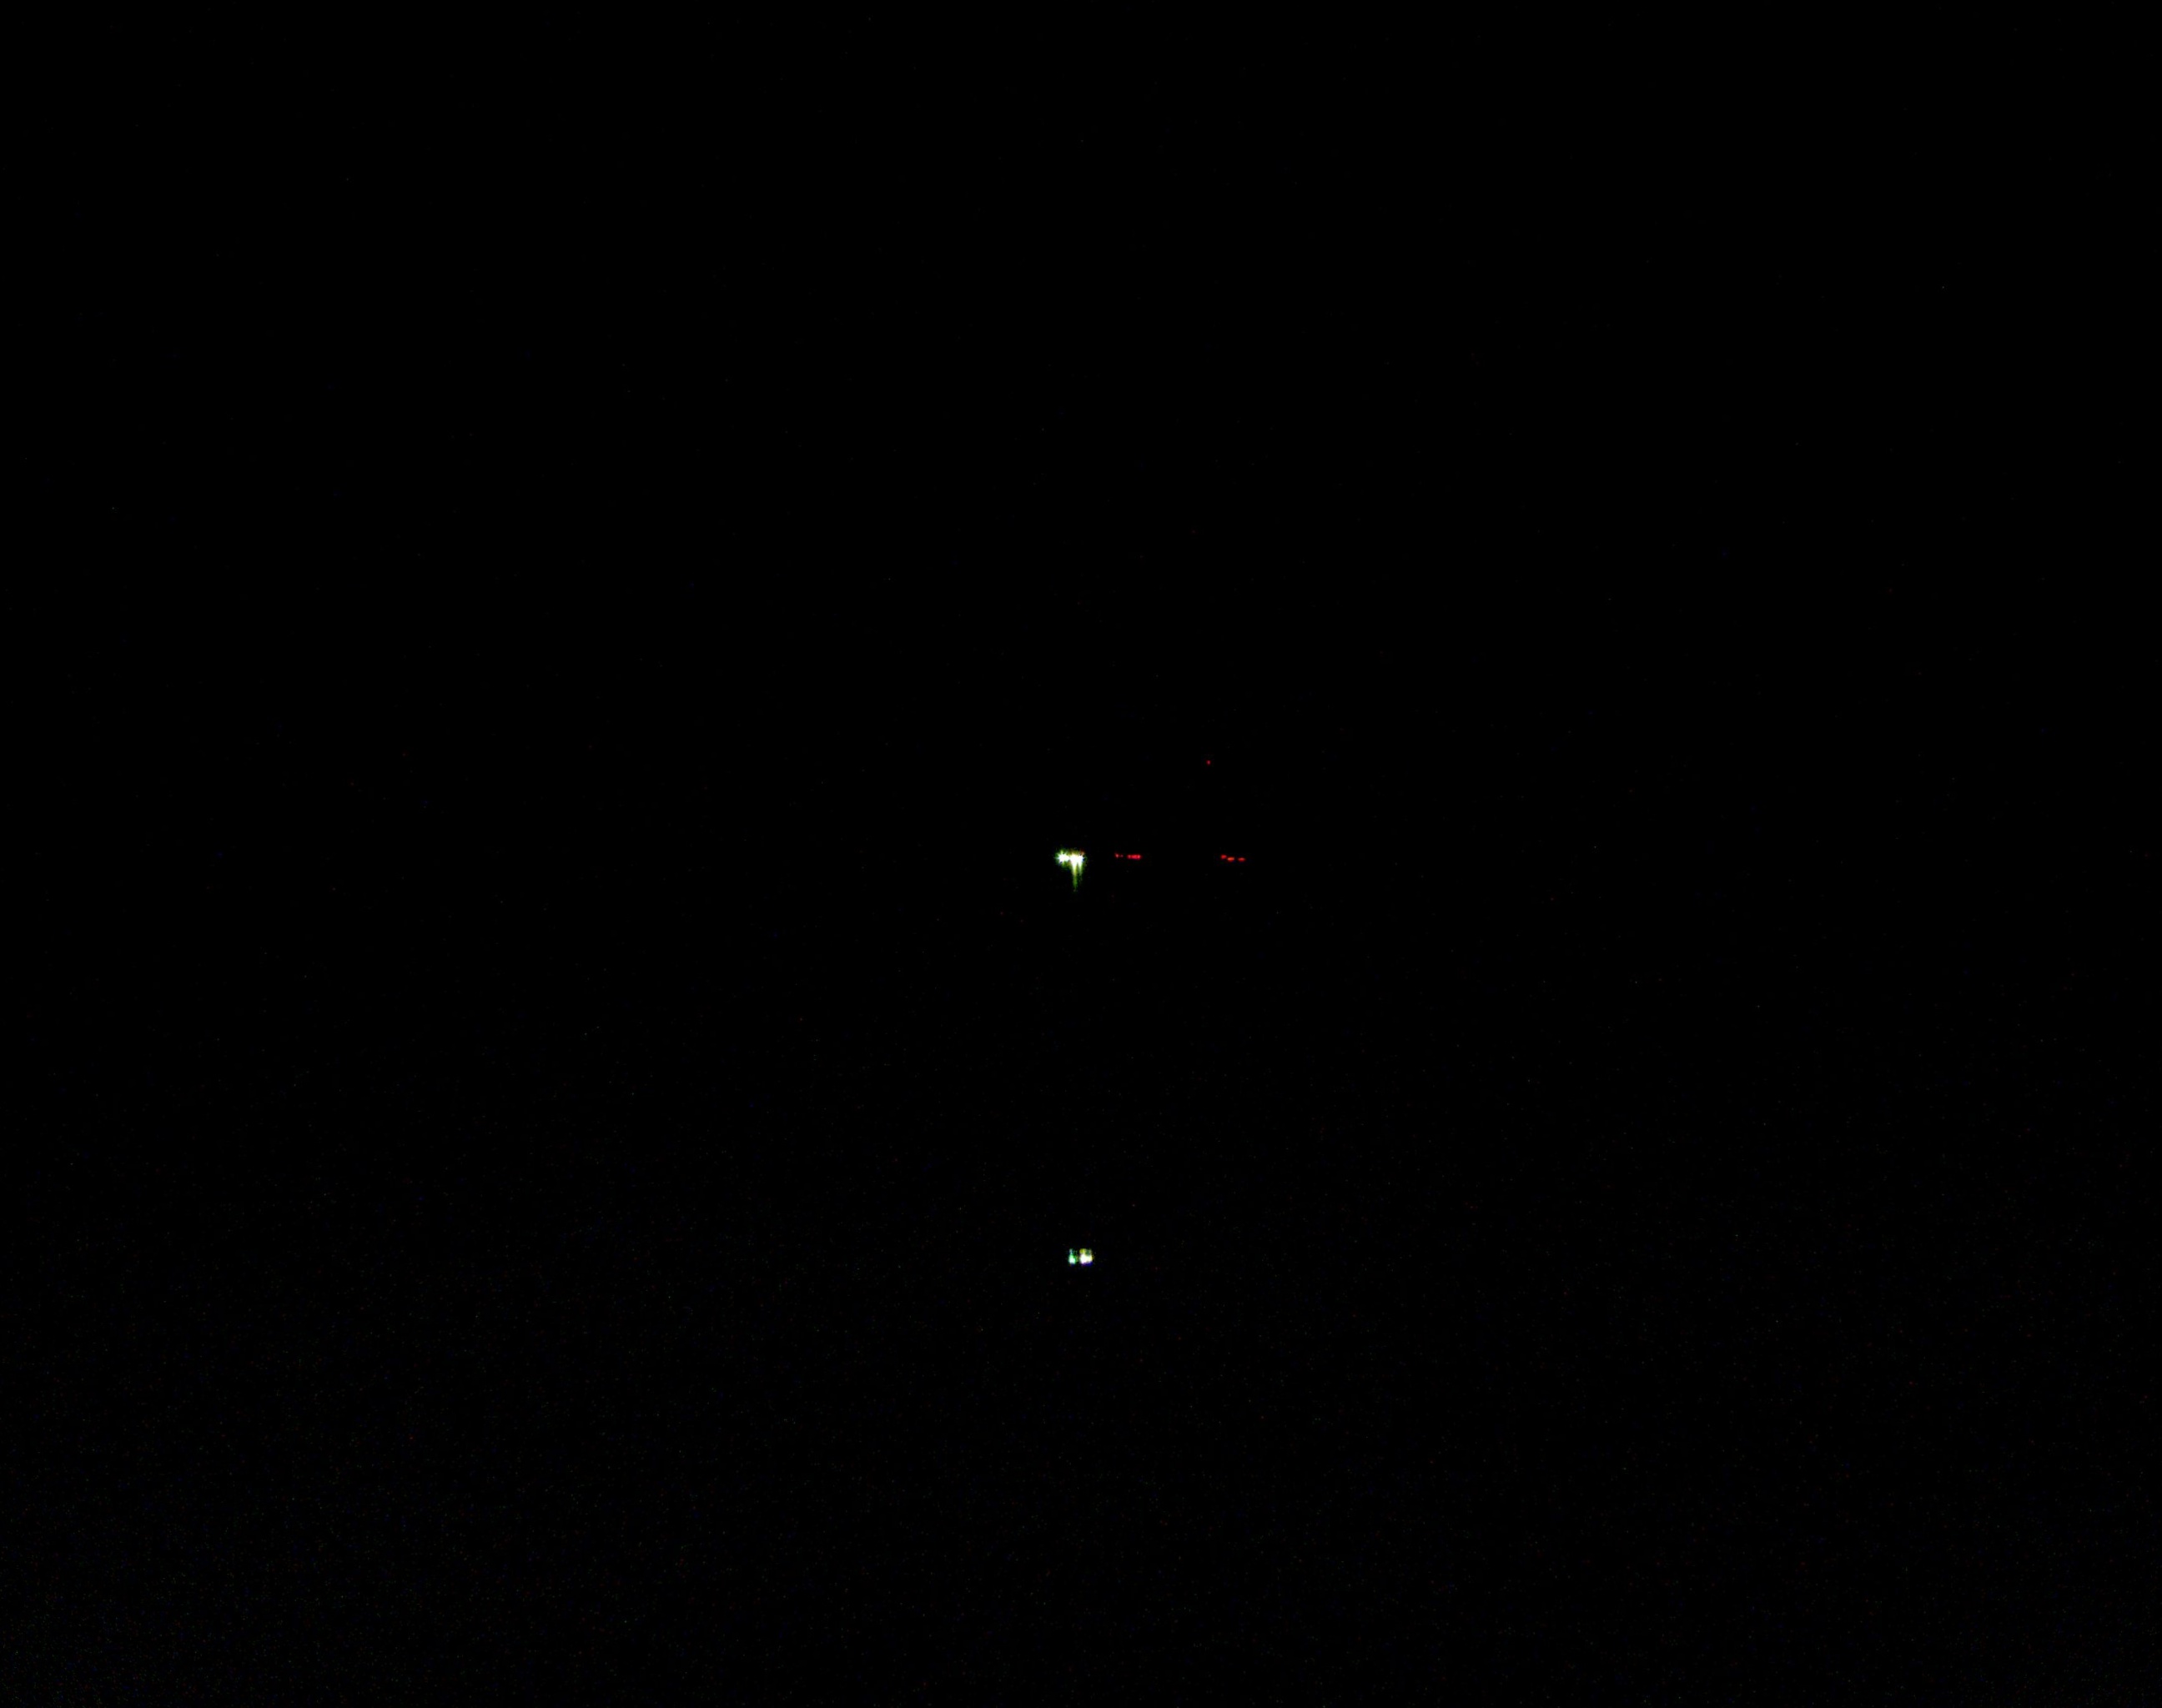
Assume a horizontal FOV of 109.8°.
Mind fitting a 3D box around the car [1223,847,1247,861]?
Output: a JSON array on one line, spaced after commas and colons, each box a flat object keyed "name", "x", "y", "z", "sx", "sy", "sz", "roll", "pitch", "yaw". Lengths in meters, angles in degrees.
[{"name": "car", "x": 19.834, "y": -0.072, "z": 97.844, "sx": 2.014, "sy": 1.641, "sz": 5.109, "roll": -2, "pitch": 1, "yaw": 0}]

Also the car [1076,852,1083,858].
[{"name": "car", "x": -0.398, "y": 0.283, "z": 200.781, "sx": 1.859, "sy": 1.608, "sz": 3.999, "roll": -2, "pitch": 1, "yaw": 0}]

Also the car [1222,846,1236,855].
[{"name": "car", "x": 26.646, "y": -0.648, "z": 136.999, "sx": 1.796, "sy": 1.471, "sz": 3.999, "roll": -2, "pitch": 1, "yaw": 1}]

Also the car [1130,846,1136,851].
[{"name": "car", "x": 17.834, "y": -1.950, "z": 262.055, "sx": 1.859, "sy": 1.609, "sz": 3.999, "roll": -2, "pitch": 1, "yaw": 0}]
